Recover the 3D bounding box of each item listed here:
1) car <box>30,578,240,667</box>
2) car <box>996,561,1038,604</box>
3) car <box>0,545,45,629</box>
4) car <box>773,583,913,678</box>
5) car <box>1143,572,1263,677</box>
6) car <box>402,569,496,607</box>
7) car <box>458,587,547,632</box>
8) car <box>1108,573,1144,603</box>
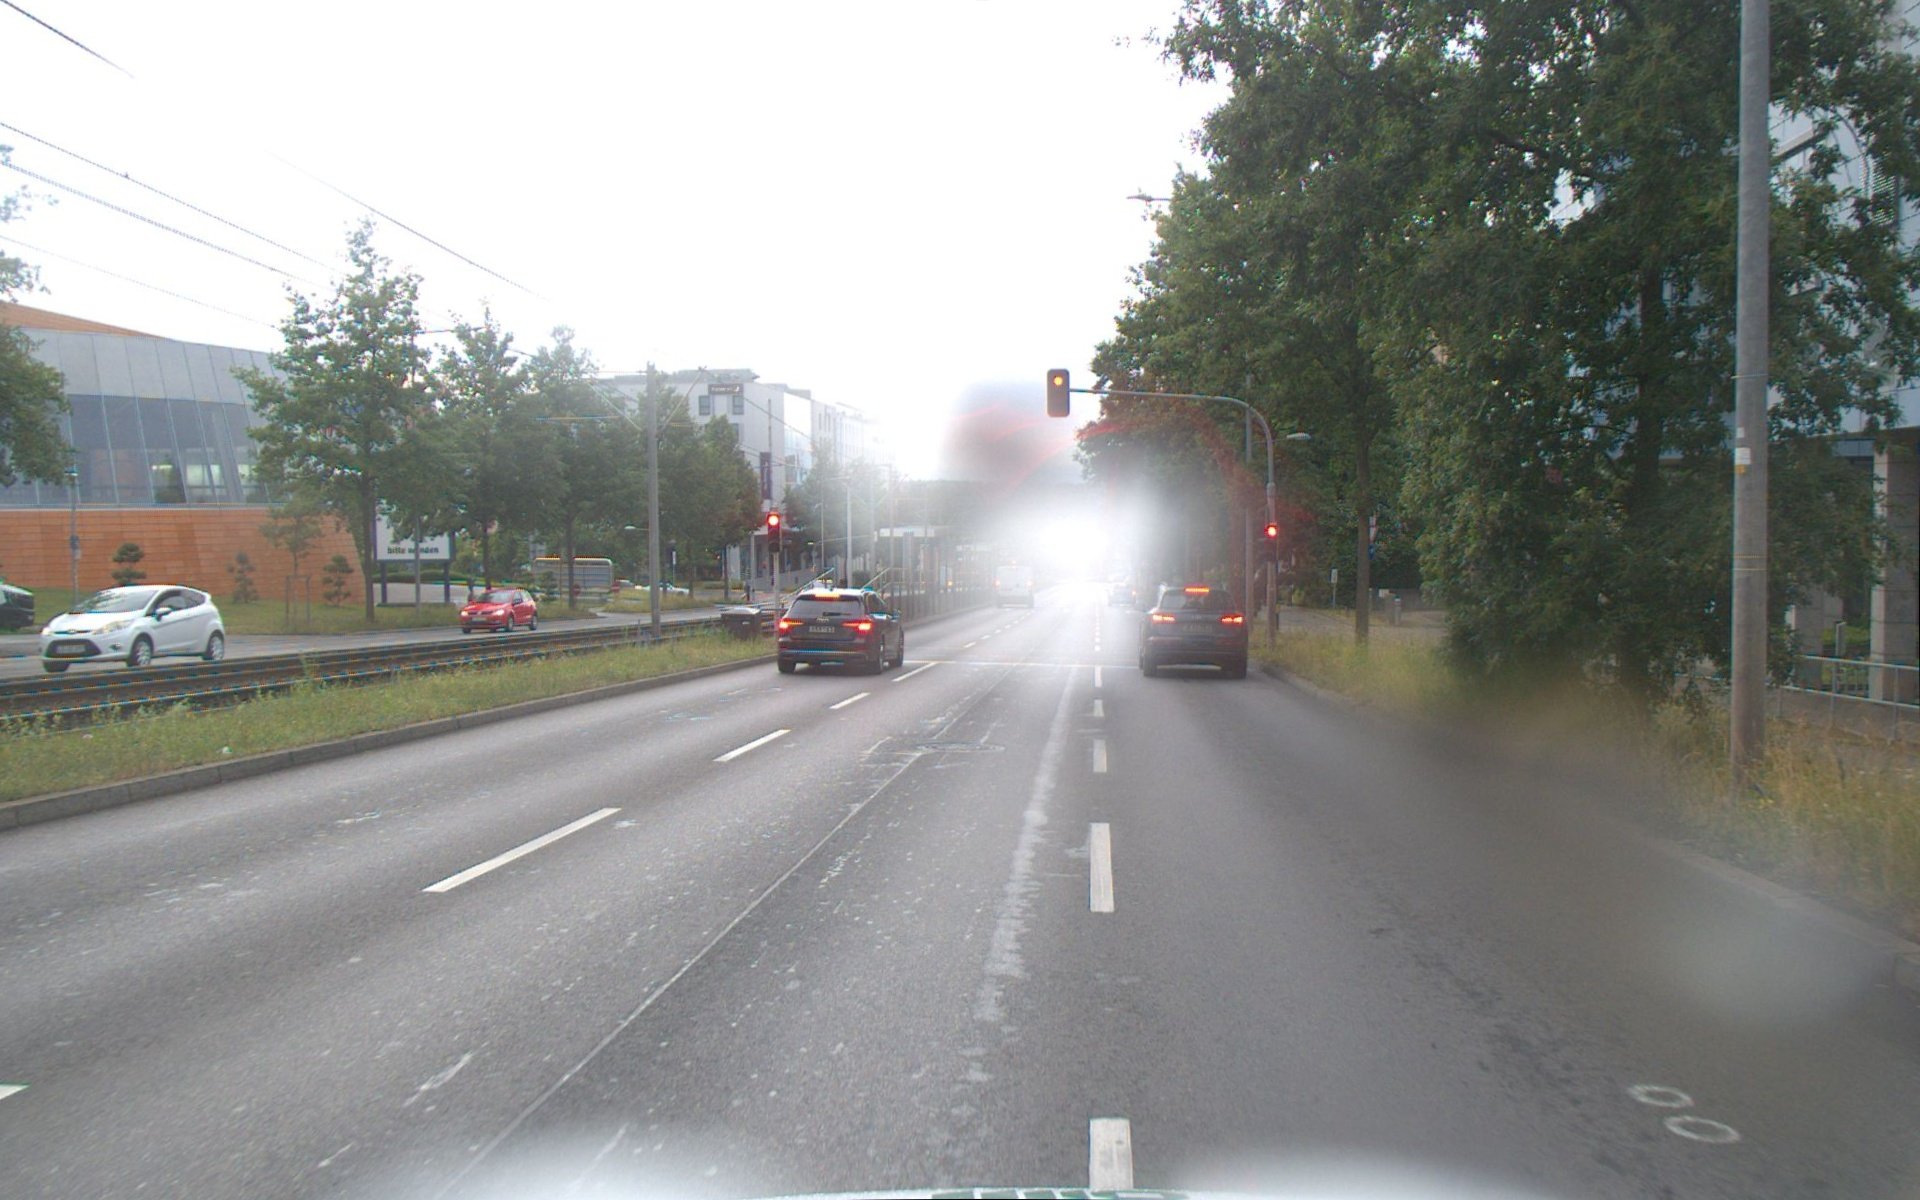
[{"bbox_3d":[-14.663,0.368,29.640,1.628,1.467,3.898,1,0,3],"label":"car"},{"bbox_3d":[3.205,-1.023,93.629,2.221,2.324,4.760,1,2,0],"label":"car"},{"bbox_3d":[-30.707,-0.414,49.318,5.545,2.474,2.259,1,0,-15],"label":"car"},{"bbox_3d":[-1.968,0.471,29.183,1.748,1.438,4.809,1,1,4],"label":"car"},{"bbox_3d":[4.362,0.413,30.166,1.882,1.740,4.100,1,0,5],"label":"car"},{"bbox_3d":[-26.737,-0.656,86.635,4.233,1.841,2.099,1,2,1],"label":"car"},{"bbox_3d":[-15.562,0.312,56.422,1.627,1.467,3.899,1,0,5],"label":"car"},{"bbox_3d":[10.361,-0.771,103.129,2.005,1.772,4.579,1,2,8],"label":"car"}]
